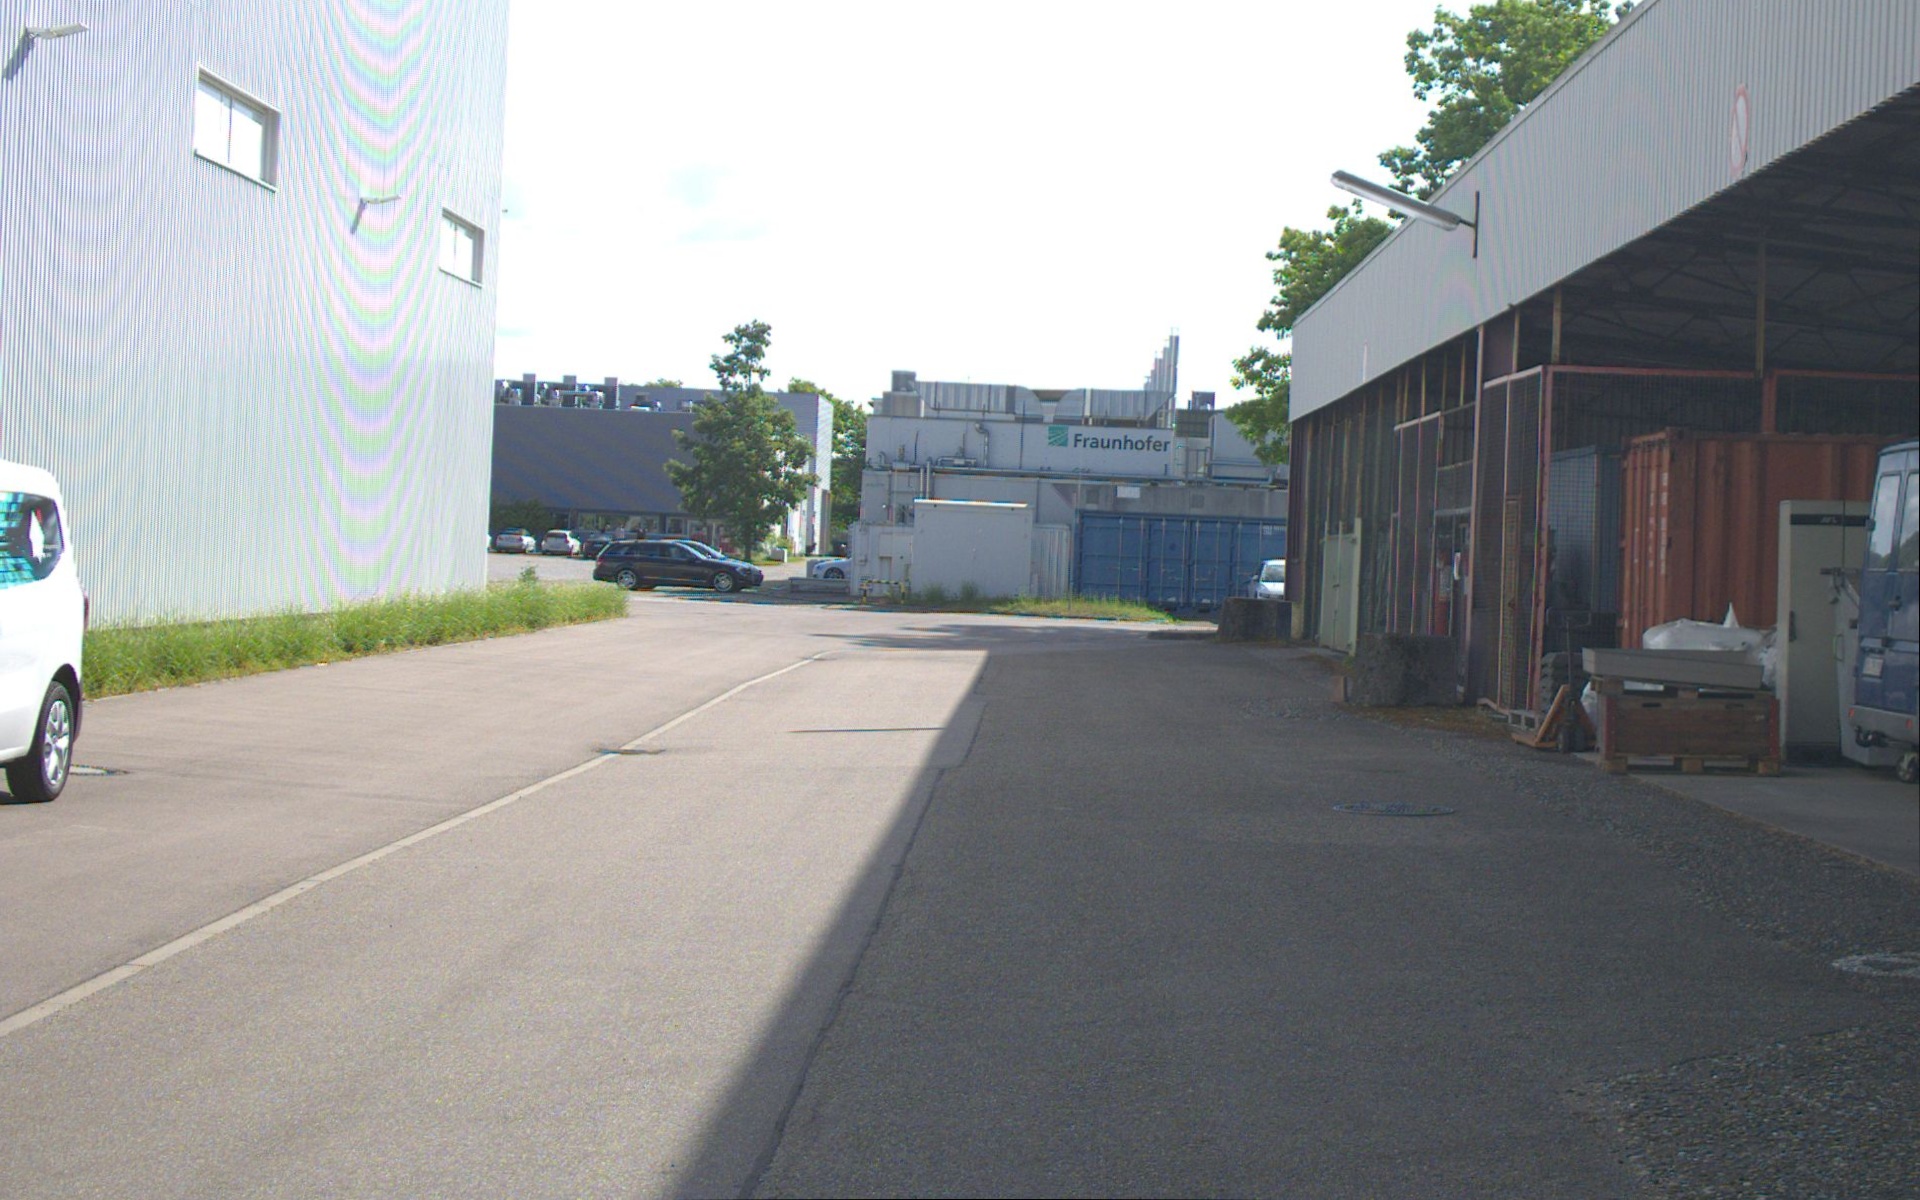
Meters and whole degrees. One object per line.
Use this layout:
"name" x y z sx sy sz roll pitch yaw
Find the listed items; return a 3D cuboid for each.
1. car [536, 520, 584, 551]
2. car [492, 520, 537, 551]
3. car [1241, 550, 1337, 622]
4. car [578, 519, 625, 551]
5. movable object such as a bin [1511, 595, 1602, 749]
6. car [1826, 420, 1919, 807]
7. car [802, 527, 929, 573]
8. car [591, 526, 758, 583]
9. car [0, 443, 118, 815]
"car" -22.829 -3.688 196.453 2.193 1.730 4.000 1 1 1
"car" -25.422 -3.688 196.177 1.993 1.730 4.000 1 1 1
"car" 8.170 -0.372 85.744 1.993 1.580 4.173 2 2 1
"car" -20.308 -3.669 194.676 2.193 1.730 4.000 1 1 1
"movable object such as a bin" 4.731 0.558 27.310 0.582 1.160 1.238 2 1 5
"car" 8.197 0.154 21.531 4.979 2.317 2.000 2 1 2
"car" -3.462 -1.834 126.403 4.526 1.503 1.909 2 1 2
"car" -8.193 -1.309 98.924 4.526 1.503 1.909 2 1 3
"car" -5.645 0.085 16.658 1.890 1.839 4.358 4 1 1
